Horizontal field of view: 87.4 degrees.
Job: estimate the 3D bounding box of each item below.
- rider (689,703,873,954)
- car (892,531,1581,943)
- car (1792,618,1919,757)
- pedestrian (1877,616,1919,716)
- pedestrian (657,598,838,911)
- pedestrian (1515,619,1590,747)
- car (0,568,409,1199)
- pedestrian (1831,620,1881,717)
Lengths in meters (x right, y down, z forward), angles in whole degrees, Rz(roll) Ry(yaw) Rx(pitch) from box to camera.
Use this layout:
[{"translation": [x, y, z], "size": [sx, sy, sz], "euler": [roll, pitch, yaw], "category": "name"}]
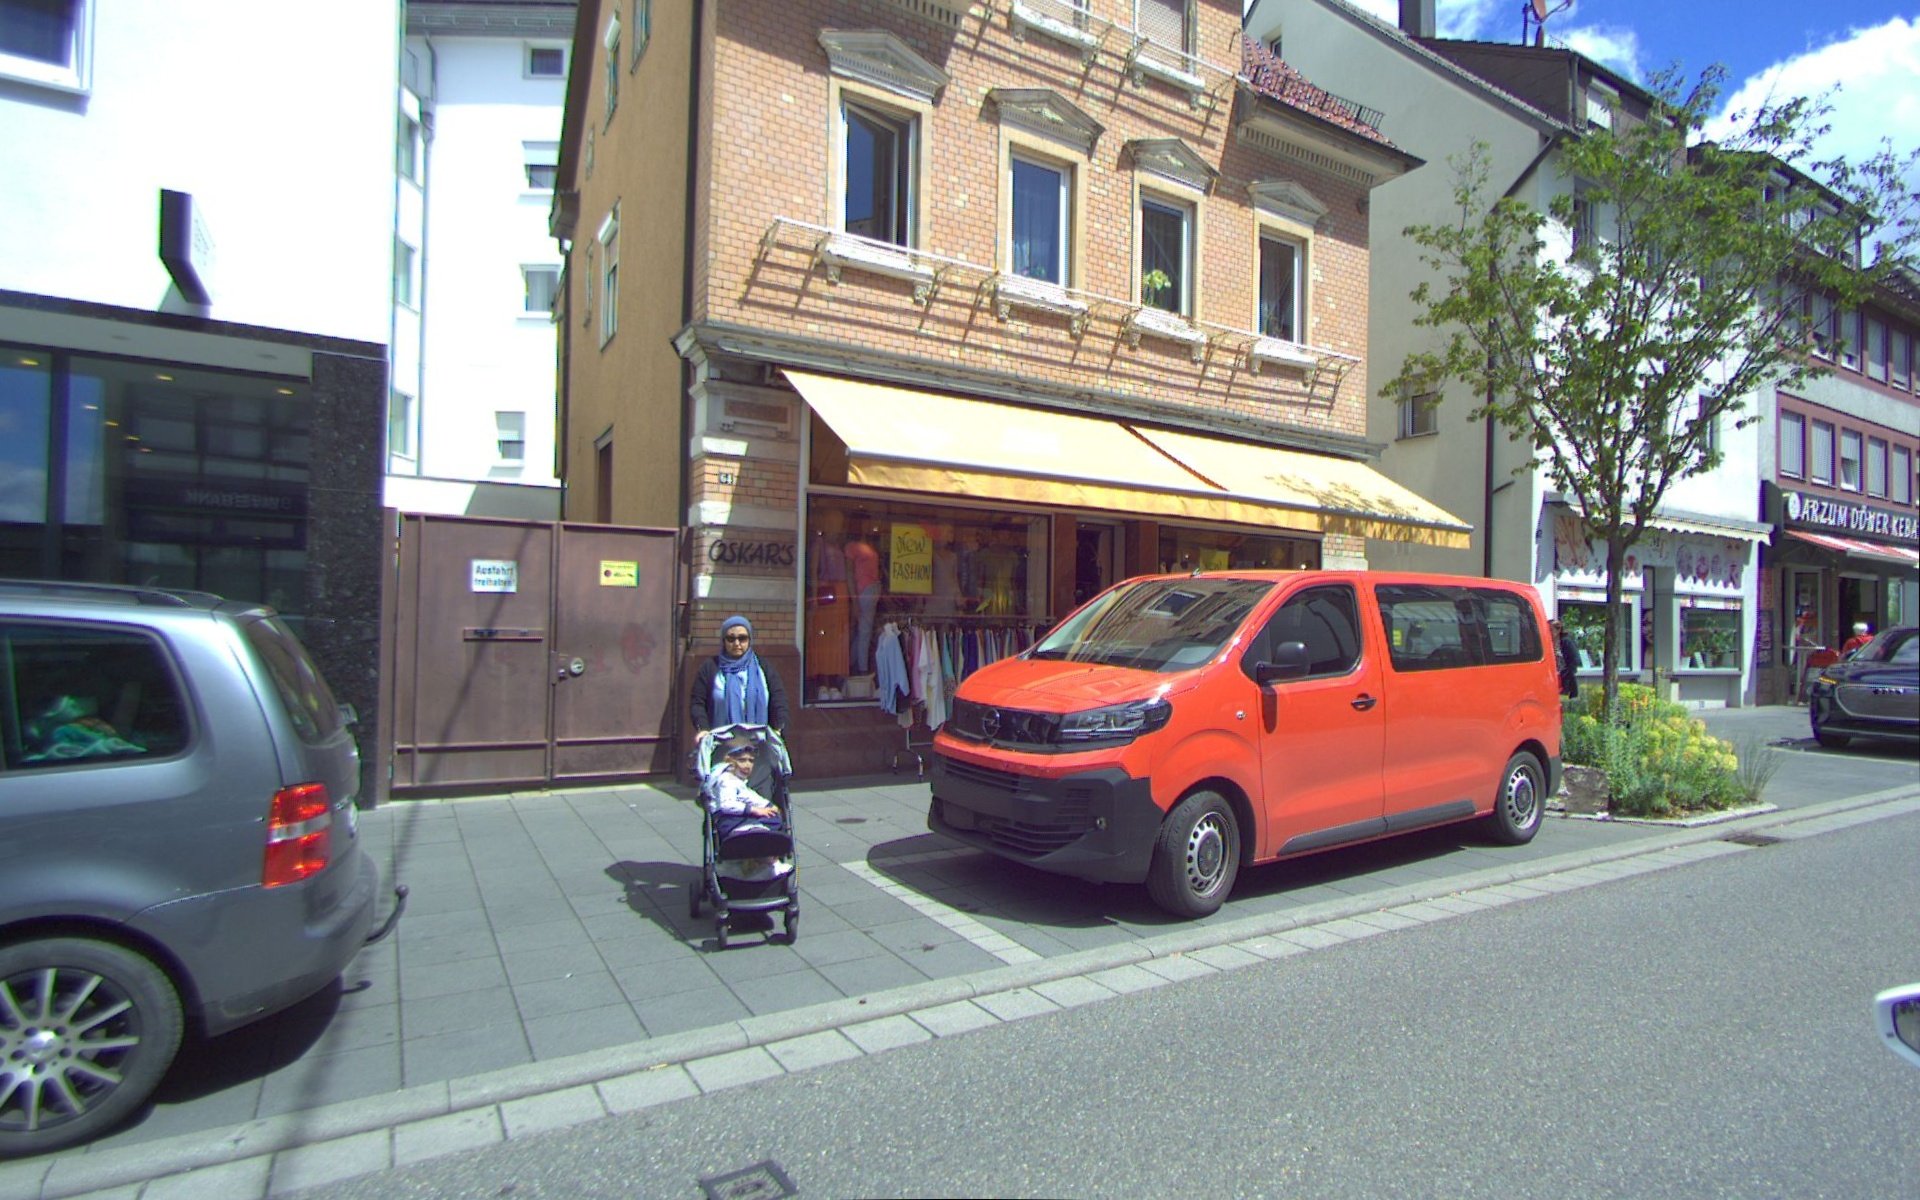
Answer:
[{"translation": [-0.916, 1.081, 5.038], "size": [0.698, 1.027, 0.800], "euler": [1, 0, -28], "category": "rider"}, {"translation": [2.076, 0.709, 6.785], "size": [4.791, 1.913, 1.805], "euler": [2, -1, -34], "category": "car"}, {"translation": [12.941, 1.076, 13.154], "size": [4.337, 1.619, 1.791], "euler": [1, -1, -30], "category": "car"}, {"translation": [16.123, 1.121, 17.180], "size": [0.466, 1.670, 0.511], "euler": [2, 0, -32], "category": "pedestrian"}, {"translation": [-1.215, 0.803, 5.676], "size": [0.769, 1.595, 0.802], "euler": [2, 0, -28], "category": "pedestrian"}, {"translation": [7.955, 1.096, 13.487], "size": [0.654, 1.654, 0.586], "euler": [2, 0, -30], "category": "pedestrian"}, {"translation": [-4.149, 0.754, 2.914], "size": [4.410, 1.778, 1.808], "euler": [2, -1, -29], "category": "car"}, {"translation": [15.756, 1.194, 17.667], "size": [0.568, 1.670, 0.498], "euler": [2, 0, -32], "category": "pedestrian"}]
